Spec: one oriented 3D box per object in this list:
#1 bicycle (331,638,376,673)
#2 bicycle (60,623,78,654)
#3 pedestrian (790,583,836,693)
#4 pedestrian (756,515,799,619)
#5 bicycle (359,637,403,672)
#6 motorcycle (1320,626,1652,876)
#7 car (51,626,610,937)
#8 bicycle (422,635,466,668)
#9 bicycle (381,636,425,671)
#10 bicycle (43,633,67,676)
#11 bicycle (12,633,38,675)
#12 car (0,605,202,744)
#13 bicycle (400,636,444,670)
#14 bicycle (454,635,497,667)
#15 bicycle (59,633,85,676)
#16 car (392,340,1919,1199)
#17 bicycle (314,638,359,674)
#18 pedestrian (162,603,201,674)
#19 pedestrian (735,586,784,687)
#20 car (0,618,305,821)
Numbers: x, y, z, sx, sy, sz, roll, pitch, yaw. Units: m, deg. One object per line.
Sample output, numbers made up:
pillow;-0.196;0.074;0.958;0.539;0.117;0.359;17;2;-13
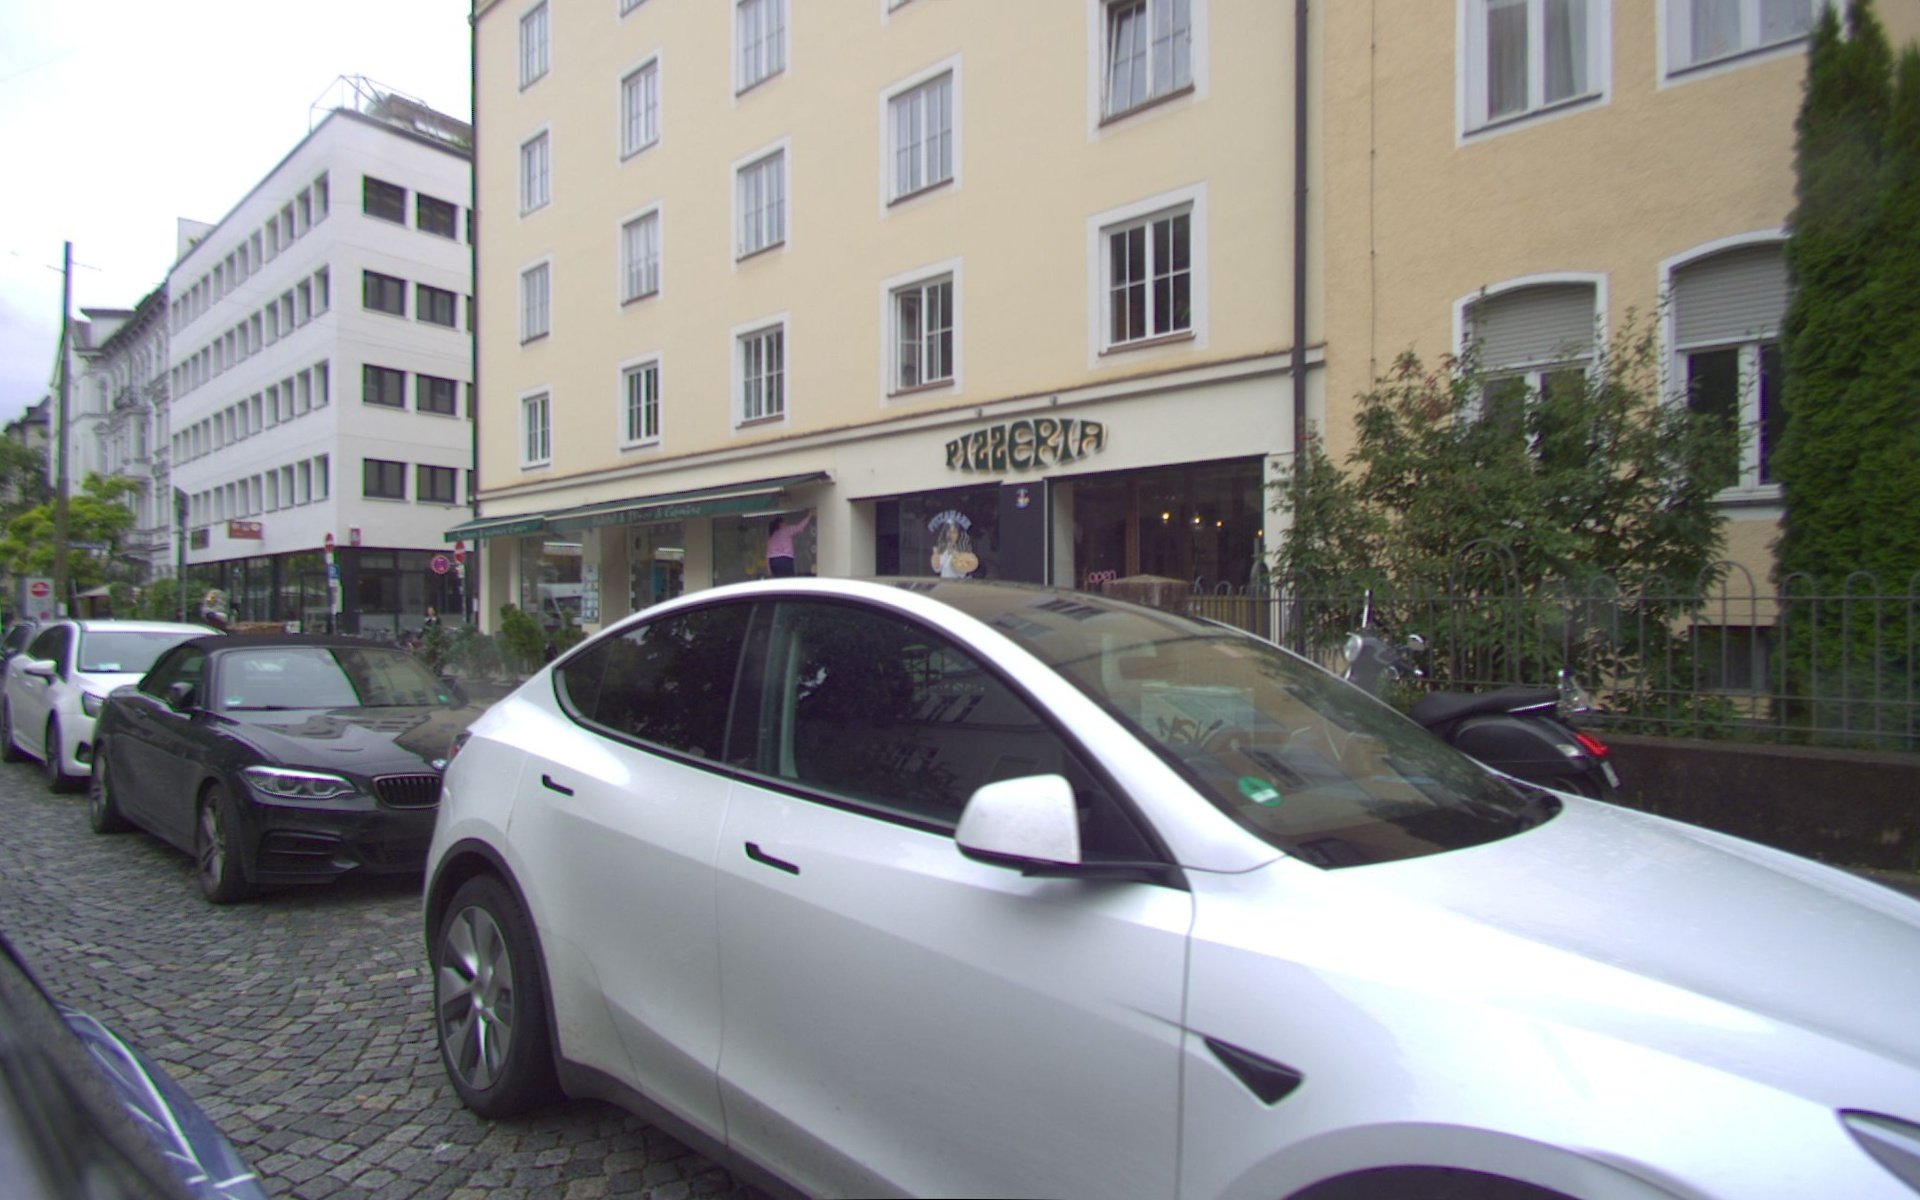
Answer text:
bicycle;-17.628;1.601;29.408;1.890;0.975;0.394;-1;0;36
bicycle;-35.386;1.529;40.182;1.911;1.183;0.356;-1;0;44
pedestrian;-2.325;0.591;16.004;0.574;1.703;0.456;-1;0;41
pedestrian;-2.958;-0.519;16.388;0.472;1.655;0.497;0;-1;-45
bicycle;-17.206;1.608;30.039;1.890;0.975;0.394;-1;0;36
motorcycle;2.894;0.759;5.674;1.578;1.203;0.486;-1;0;41
car;-4.345;0.913;6.688;4.386;1.370;1.756;-1;-4;39
bicycle;-16.145;1.608;31.649;1.890;0.975;0.394;-1;0;36
bicycle;-16.840;1.606;30.591;1.890;0.975;0.394;-1;0;36
bicycle;-24.622;1.467;27.521;1.806;1.135;0.252;-1;0;41
bicycle;-25.436;1.464;27.529;1.814;1.099;0.283;-1;-1;40
car;-12.249;0.884;13.953;4.744;1.598;1.833;-1;0;40
bicycle;-16.533;1.610;31.070;1.890;0.975;0.394;-1;0;36
bicycle;-15.586;1.622;32.558;1.890;0.975;0.394;-1;0;36
bicycle;-24.341;1.475;27.728;1.814;1.099;0.283;-1;0;40
car;0.380;0.622;2.509;4.389;1.660;1.755;-1;-1;41
bicycle;-17.885;1.596;29.016;1.890;0.975;0.394;-1;0;36
pedestrian;-20.720;1.011;26.952;0.812;1.854;0.608;-1;-1;35
pedestrian;-3.349;0.599;16.917;0.629;1.655;0.516;-1;0;41
car;-8.278;0.979;10.106;4.538;1.548;1.755;-1;0;41
